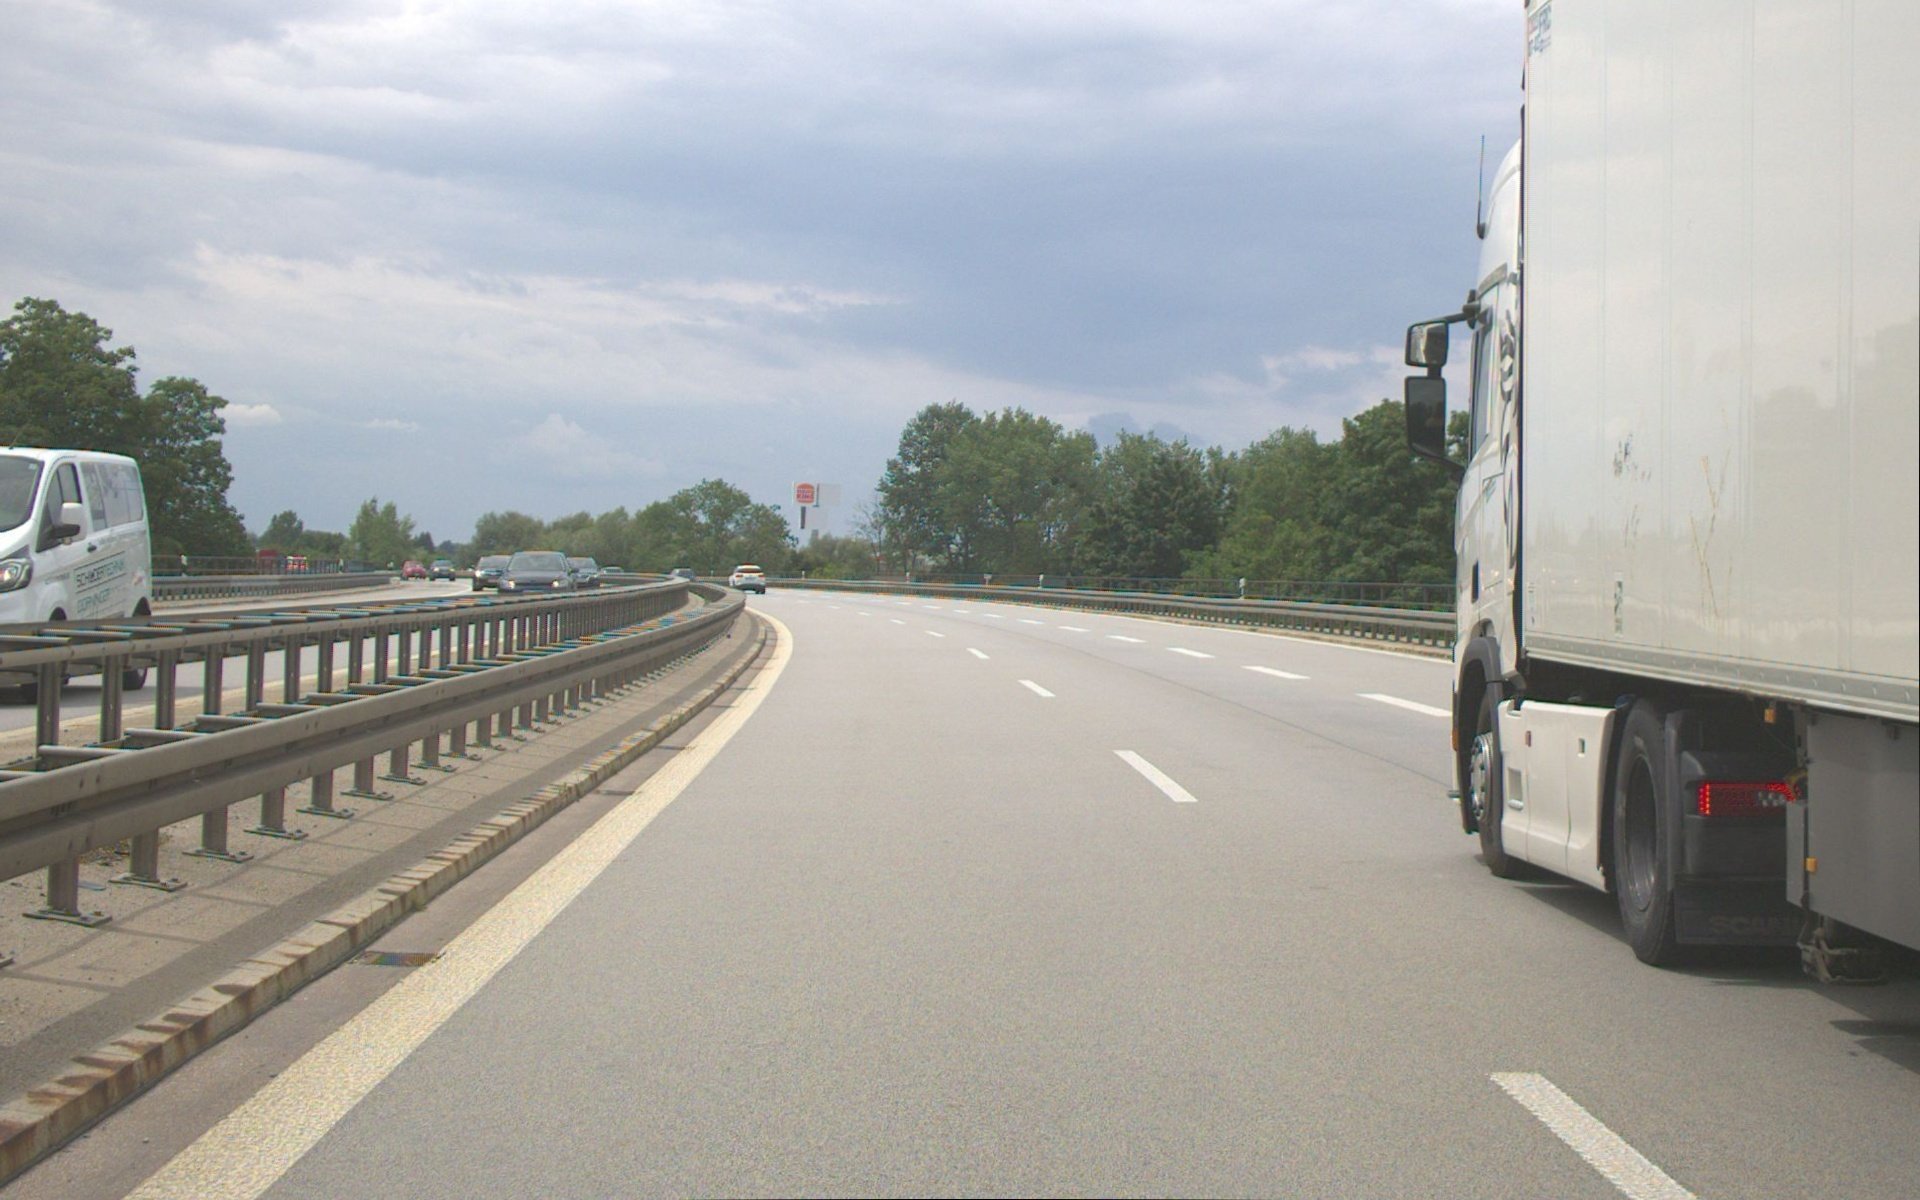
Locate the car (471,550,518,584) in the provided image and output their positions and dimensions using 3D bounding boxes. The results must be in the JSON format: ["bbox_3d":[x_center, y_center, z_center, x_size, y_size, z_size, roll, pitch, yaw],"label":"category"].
[{"bbox_3d":[-19.988,-1.417,147.815,1.737,1.405,4.943,1,0,-5],"label":"car"}]

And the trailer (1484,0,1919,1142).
[{"bbox_3d":[3.967,-0.558,8.620,3.062,3.877,13.791,1,1,0],"label":"trailer"}]

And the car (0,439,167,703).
[{"bbox_3d":[-7.667,-0.271,27.255,1.771,1.904,4.715,3,1,-2],"label":"car"}]

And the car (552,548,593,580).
[{"bbox_3d":[-17.060,-1.589,151.590,1.651,1.362,4.149,1,1,-5],"label":"car"}]

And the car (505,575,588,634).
[{"bbox_3d":[-10.002,0.079,83.334,1.685,1.371,4.359,0,1,-3],"label":"car"}]

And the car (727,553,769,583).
[{"bbox_3d":[-12.431,-1.869,201.460,1.902,1.634,4.397,1,0,-11],"label":"car"}]

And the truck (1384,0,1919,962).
[{"bbox_3d":[3.894,-0.621,15.811,3.062,3.878,6.000,1,1,0],"label":"truck"}]
